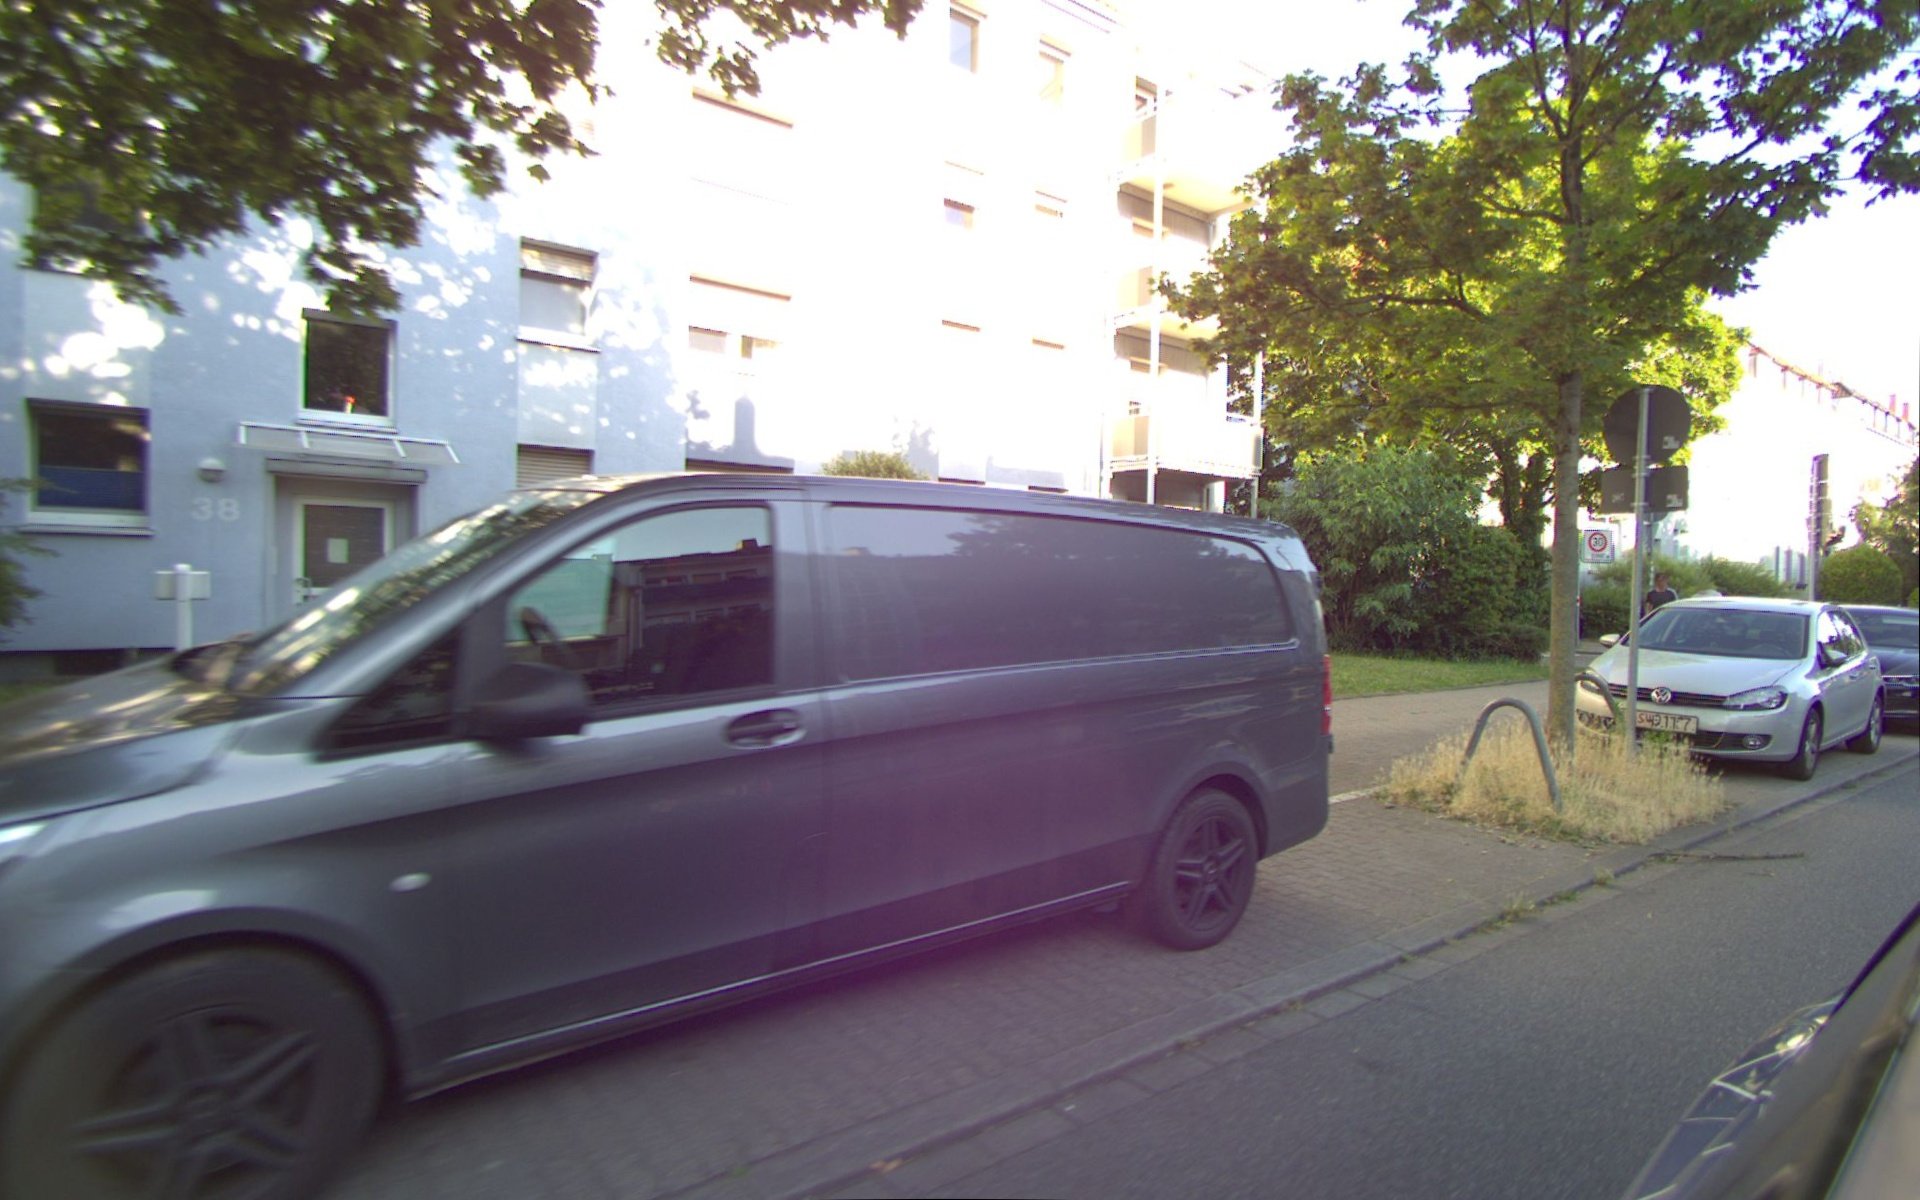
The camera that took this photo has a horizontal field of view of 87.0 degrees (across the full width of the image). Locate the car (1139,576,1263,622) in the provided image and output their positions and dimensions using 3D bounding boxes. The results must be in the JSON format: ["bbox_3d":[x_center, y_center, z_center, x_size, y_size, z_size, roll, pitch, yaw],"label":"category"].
[{"bbox_3d":[8.709,-0.080,36.738,1.967,1.415,3.992,-3,4,-43],"label":"car"}]

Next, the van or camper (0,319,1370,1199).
[{"bbox_3d":[-0.799,0.405,3.935,5.160,1.865,2.000,1,1,-37],"label":"van or camper"}]

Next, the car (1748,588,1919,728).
[{"bbox_3d":[11.699,0.644,12.794,4.260,1.461,1.739,1,2,-38],"label":"car"}]

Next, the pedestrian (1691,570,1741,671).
[{"bbox_3d":[13.529,0.353,18.112,0.398,1.749,0.593,0,1,-37],"label":"pedestrian"}]

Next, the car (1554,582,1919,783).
[{"bbox_3d":[7.534,0.632,9.676,4.226,1.461,1.739,1,2,-38],"label":"car"}]

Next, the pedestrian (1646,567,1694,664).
[{"bbox_3d":[13.182,0.277,18.797,0.398,1.749,0.593,0,1,-37],"label":"pedestrian"}]
